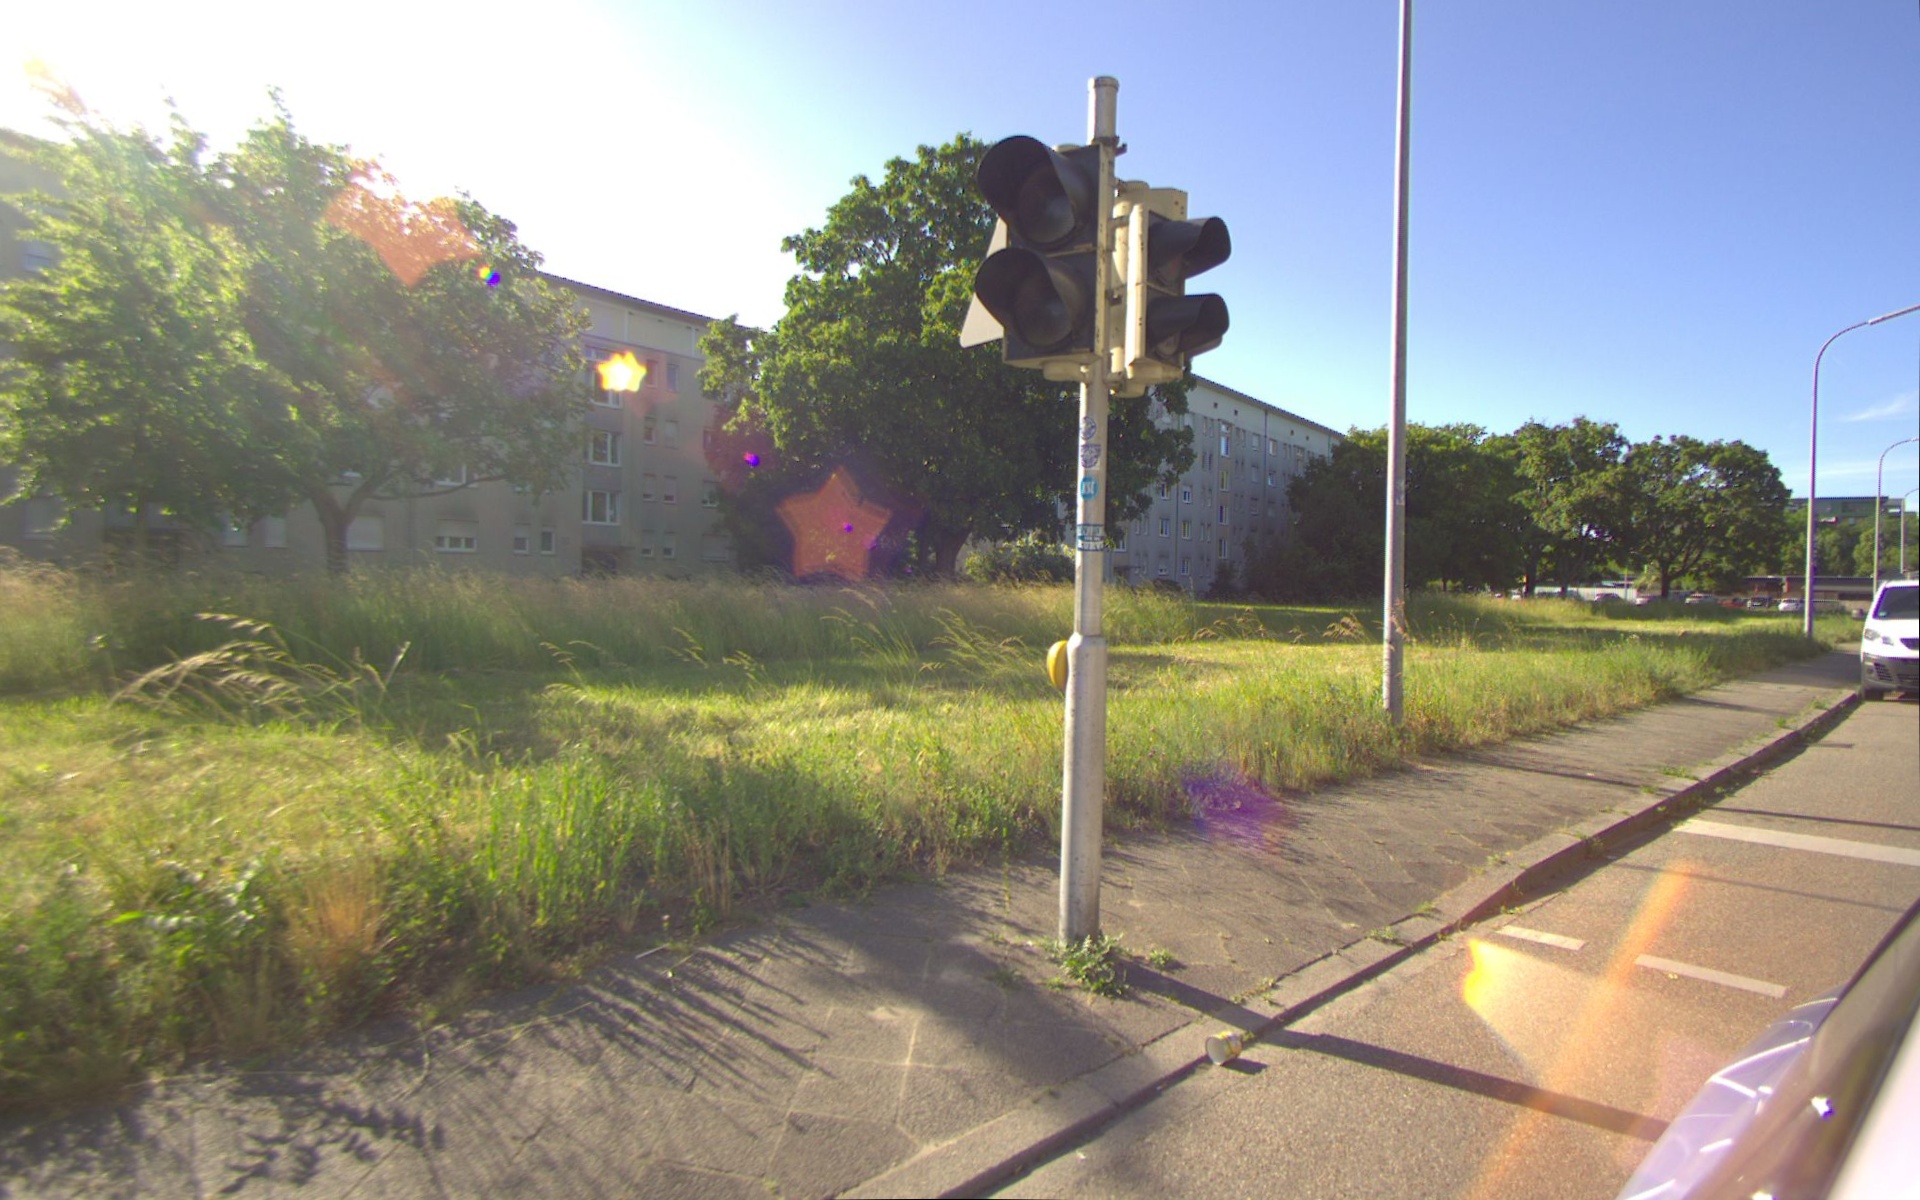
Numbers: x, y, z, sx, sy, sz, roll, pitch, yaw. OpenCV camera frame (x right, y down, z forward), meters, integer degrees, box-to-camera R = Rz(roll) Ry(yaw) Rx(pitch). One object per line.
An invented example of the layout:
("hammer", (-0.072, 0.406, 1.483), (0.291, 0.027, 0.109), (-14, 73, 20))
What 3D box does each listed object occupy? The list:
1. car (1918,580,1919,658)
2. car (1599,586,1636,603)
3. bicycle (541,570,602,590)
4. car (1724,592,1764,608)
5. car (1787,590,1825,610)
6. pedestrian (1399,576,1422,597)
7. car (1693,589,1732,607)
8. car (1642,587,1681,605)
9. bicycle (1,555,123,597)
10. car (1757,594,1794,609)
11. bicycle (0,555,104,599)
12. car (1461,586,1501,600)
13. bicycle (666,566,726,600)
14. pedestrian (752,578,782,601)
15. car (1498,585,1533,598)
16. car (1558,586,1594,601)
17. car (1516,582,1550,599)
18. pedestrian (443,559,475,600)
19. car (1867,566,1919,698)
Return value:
("car", (23.454, 0.430, 23.355), (4.014, 1.752, 1.700), (0, 0, -43))
("car", (74.508, -0.637, 114.711), (3.921, 1.795, 1.959), (-1, 3, -31))
("bicycle", (-16.304, -0.844, 42.508), (2.266, 0.822, 0.693), (0, 2, -44))
("car", (80.456, -0.012, 103.845), (3.920, 1.488, 1.867), (1, 2, -31))
("car", (82.916, 0.010, 99.195), (3.925, 1.883, 1.957), (0, 2, -37))
("pedestrian", (44.516, -1.331, 100.016), (1.669, 2.056, 1.489), (0, 2, -42))
("car", (78.489, -0.236, 105.533), (3.920, 1.795, 1.864), (1, 2, -31))
("car", (76.497, -0.425, 110.349), (3.920, 1.795, 1.959), (1, 2, -31))
("bicycle", (-27.383, -0.728, 30.930), (0.930, 1.220, 2.676), (2, 2, 23))
("car", (81.527, 0.142, 101.145), (3.923, 1.340, 1.782), (0, 2, -34))
("bicycle", (-26.957, -0.675, 29.715), (0.930, 1.220, 2.676), (2, 2, 23))
("car", (60.754, -0.846, 118.134), (1.959, 1.468, 3.646), (1, 2, -27))
("bicycle", (-12.208, -0.796, 46.848), (0.779, 1.544, 2.715), (2, 2, 40))
("pedestrian", (-8.164, -0.435, 42.789), (0.741, 0.858, 0.991), (2, 7, 39))
("car", (68.852, -1.067, 125.423), (3.920, 1.580, 1.959), (1, 2, -31))
("car", (72.253, -0.743, 118.673), (3.920, 1.580, 1.959), (1, 2, -31))
("car", (69.730, -1.176, 123.236), (3.922, 2.038, 2.001), (0, 2, -33))
("pedestrian", (-18.106, -0.747, 36.555), (0.752, 1.475, 0.758), (2, 1, 35))
("car", (15.823, 0.458, 15.982), (4.785, 1.895, 1.917), (0, 0, -44))
